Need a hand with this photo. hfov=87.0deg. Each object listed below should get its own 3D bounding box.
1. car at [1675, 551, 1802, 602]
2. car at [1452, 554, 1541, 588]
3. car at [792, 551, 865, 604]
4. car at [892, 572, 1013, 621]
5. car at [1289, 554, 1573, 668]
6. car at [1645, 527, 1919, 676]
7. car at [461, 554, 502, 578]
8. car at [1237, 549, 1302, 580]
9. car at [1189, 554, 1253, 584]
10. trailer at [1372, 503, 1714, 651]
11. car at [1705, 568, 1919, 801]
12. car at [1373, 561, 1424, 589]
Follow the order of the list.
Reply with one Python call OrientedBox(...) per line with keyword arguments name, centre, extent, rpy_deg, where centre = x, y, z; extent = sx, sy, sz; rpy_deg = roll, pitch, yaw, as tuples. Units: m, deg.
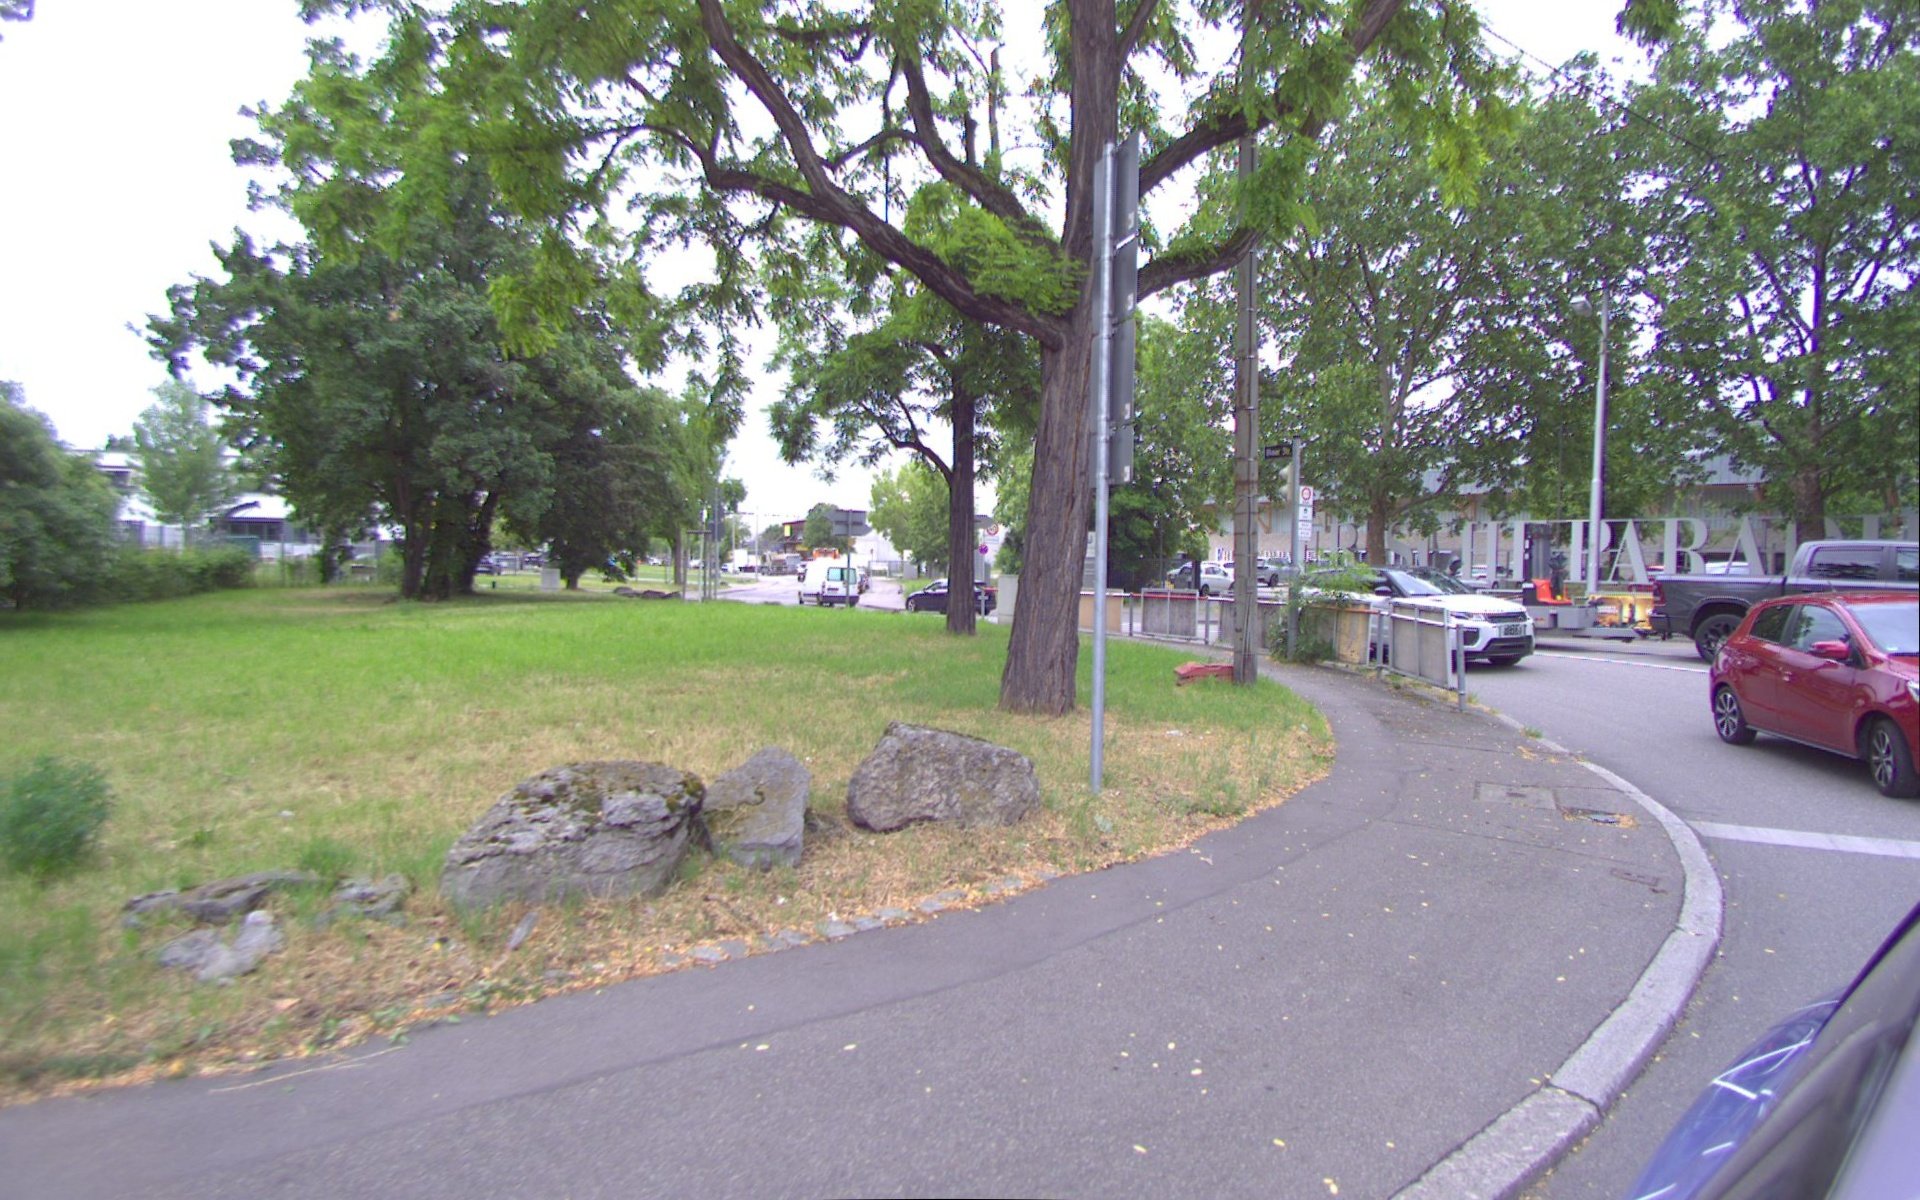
OrientedBox(name="car", centre=(25.571, -0.773, 33.208), extent=(4.612, 1.475, 2.000), rpy_deg=(-3, 0, -35))
OrientedBox(name="car", centre=(26.432, -1.437, 49.778), extent=(5.158, 1.449, 1.936), rpy_deg=(-3, 1, -38))
OrientedBox(name="car", centre=(-7.143, -1.148, 54.119), extent=(2.147, 2.573, 6.495), rpy_deg=(-3, 0, -22))
OrientedBox(name="car", centre=(-0.368, -0.170, 41.031), extent=(1.964, 1.475, 5.219), rpy_deg=(7, -1, -39))
OrientedBox(name="car", centre=(7.704, 0.084, 17.014), extent=(1.878, 1.588, 4.122), rpy_deg=(-3, 3, -23))
OrientedBox(name="car", centre=(13.480, -0.039, 14.474), extent=(1.911, 2.003, 5.882), rpy_deg=(-2, 4, -27))
OrientedBox(name="car", centre=(-33.867, -2.411, 71.731), extent=(1.887, 1.573, 4.010), rpy_deg=(0, 3, -13))
OrientedBox(name="car", centre=(18.089, -2.054, 59.079), extent=(3.934, 1.721, 1.912), rpy_deg=(-1, 3, -44))
OrientedBox(name="car", centre=(15.826, -1.870, 61.284), extent=(3.934, 1.721, 1.912), rpy_deg=(-1, 3, -44))
OrientedBox(name="trailer", centre=(10.883, -0.476, 19.464), extent=(2.107, 2.417, 5.398), rpy_deg=(0, 2, -27))
OrientedBox(name="car", centre=(7.877, 0.544, 8.222), extent=(1.743, 1.549, 3.722), rpy_deg=(0, 2, 16))
OrientedBox(name="car", centre=(28.576, -1.641, 65.889), extent=(3.513, 1.705, 1.749), rpy_deg=(-3, 0, -43))
